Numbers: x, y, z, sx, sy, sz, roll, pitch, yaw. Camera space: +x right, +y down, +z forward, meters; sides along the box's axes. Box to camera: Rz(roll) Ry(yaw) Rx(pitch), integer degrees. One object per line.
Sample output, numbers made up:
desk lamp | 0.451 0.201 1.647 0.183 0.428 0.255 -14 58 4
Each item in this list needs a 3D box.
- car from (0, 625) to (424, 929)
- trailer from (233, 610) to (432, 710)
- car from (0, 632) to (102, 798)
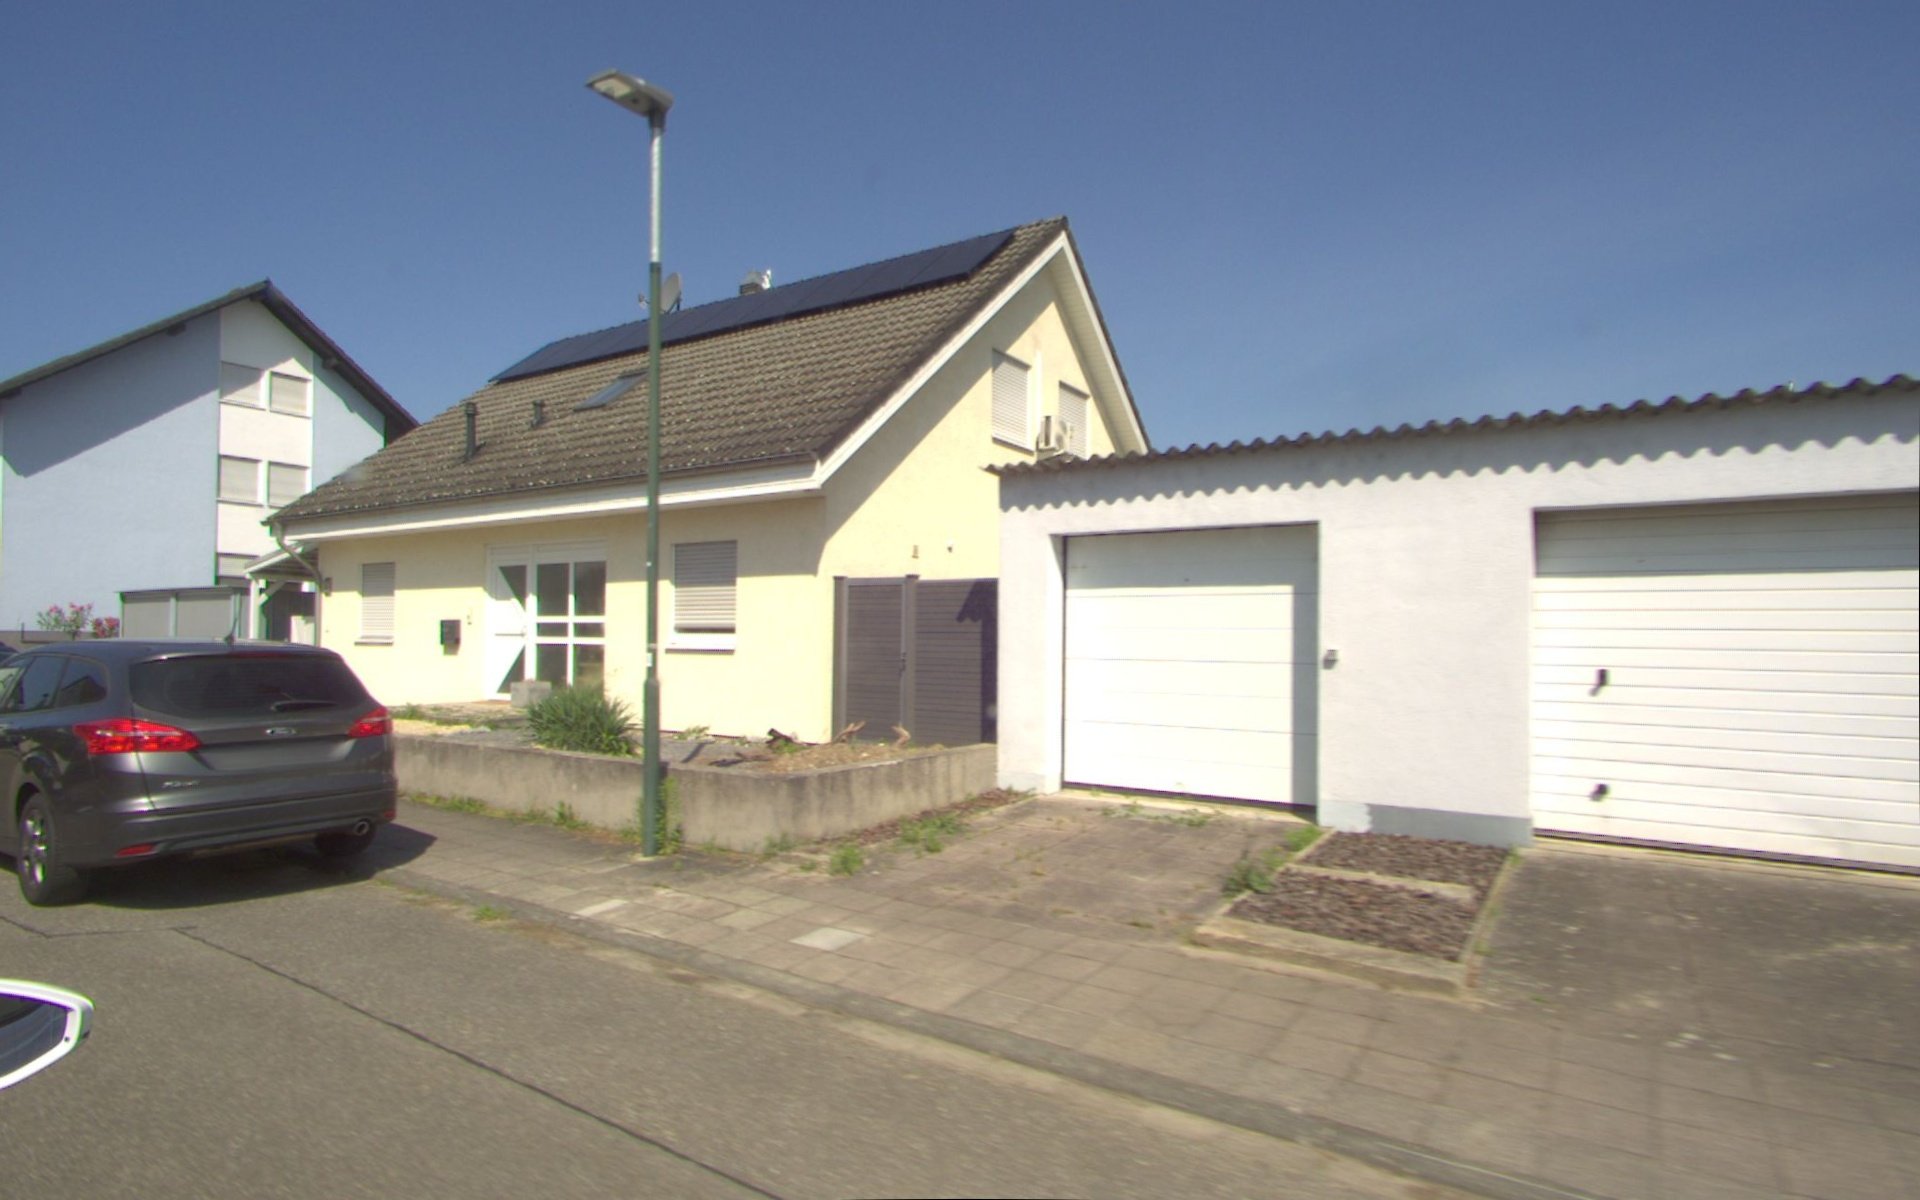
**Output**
car | -5.583 0.959 6.826 3.943 1.497 1.640 0 -3 33
trailer | -11.633 1.076 18.701 1.383 1.711 2.828 0 -2 33
car | -10.328 1.036 9.927 4.442 1.457 1.713 -1 -2 35
